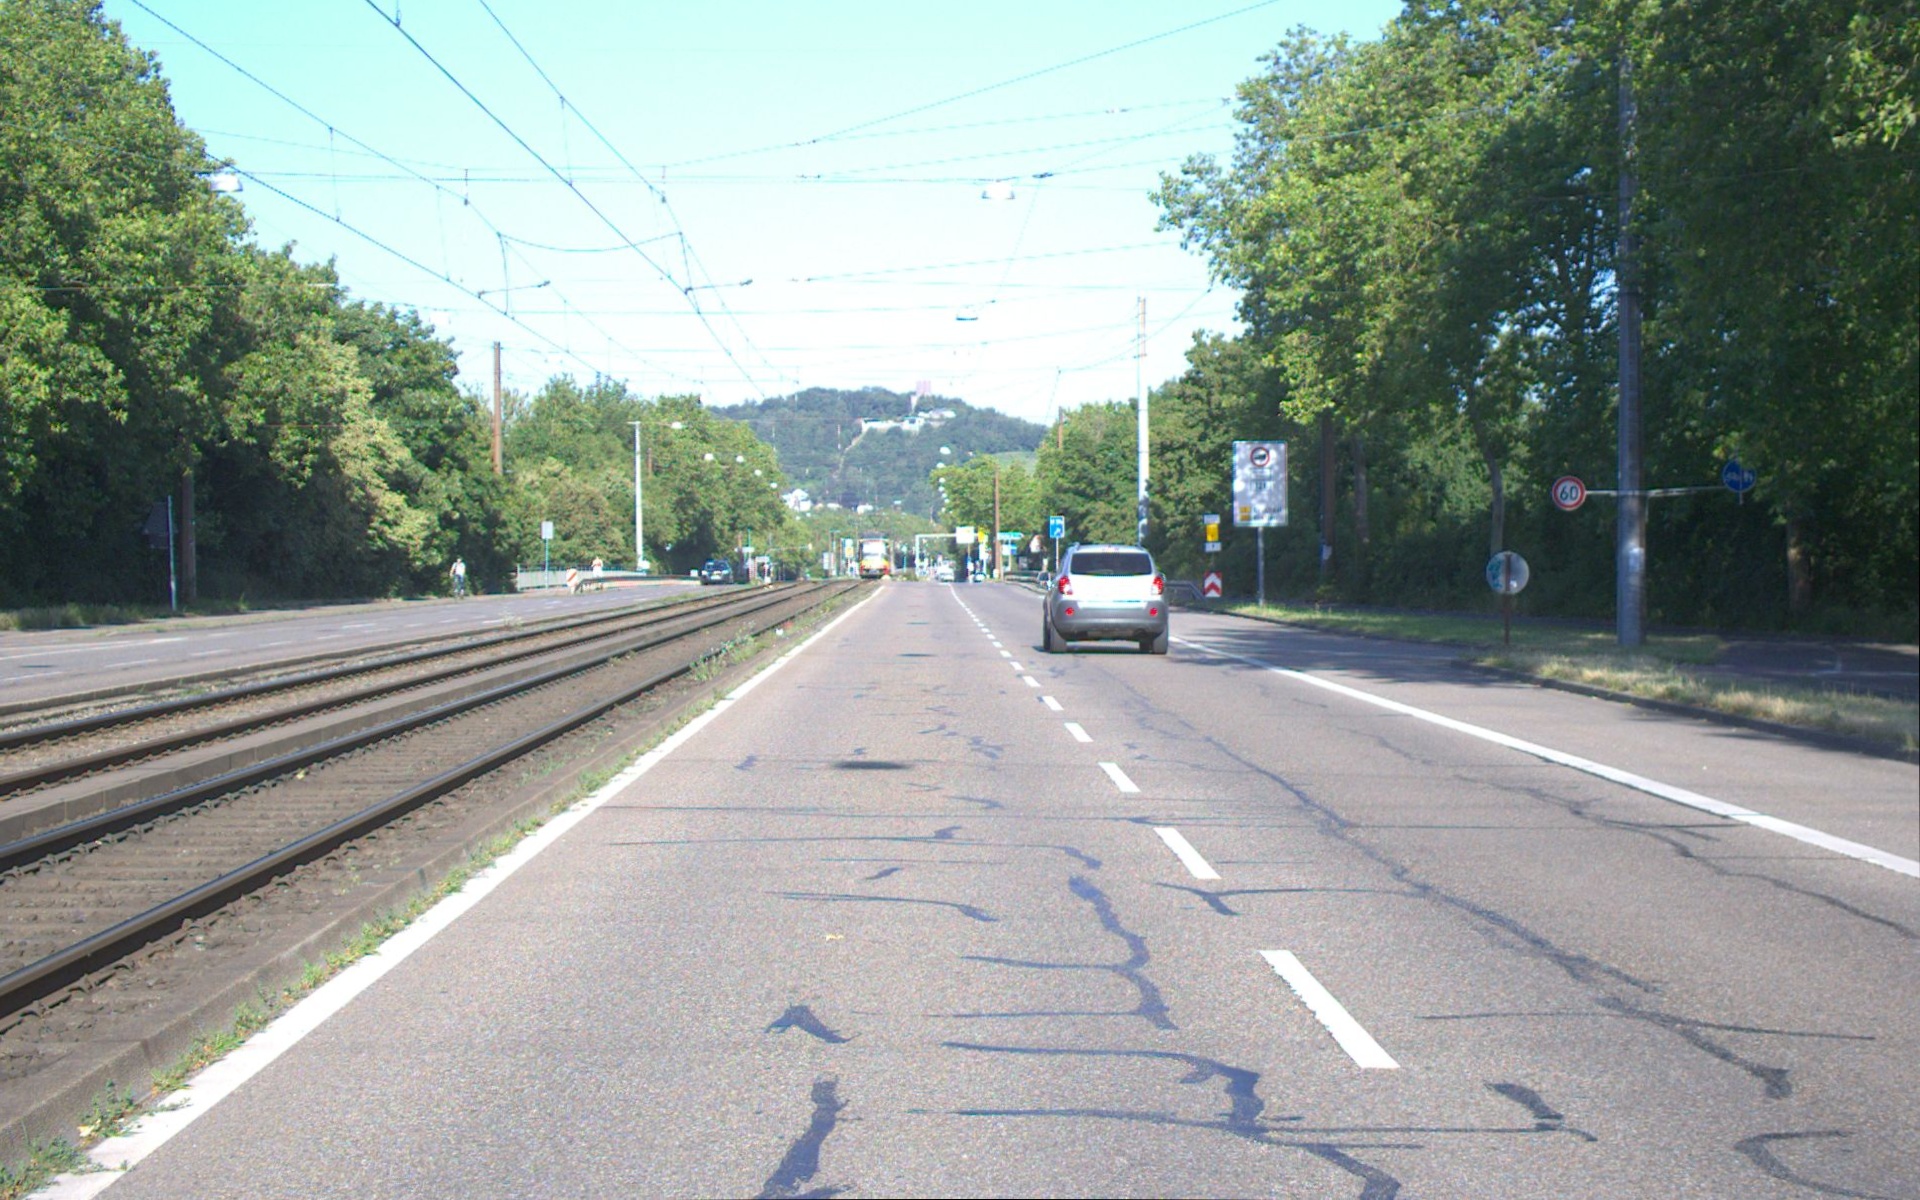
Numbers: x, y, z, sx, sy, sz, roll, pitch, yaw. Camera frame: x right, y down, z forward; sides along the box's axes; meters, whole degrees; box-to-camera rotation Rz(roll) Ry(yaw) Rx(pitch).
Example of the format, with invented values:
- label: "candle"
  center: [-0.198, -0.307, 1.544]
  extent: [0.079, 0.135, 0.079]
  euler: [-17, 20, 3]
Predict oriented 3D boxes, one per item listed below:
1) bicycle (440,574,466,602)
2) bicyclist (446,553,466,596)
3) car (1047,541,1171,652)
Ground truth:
- label: "bicycle"
  center: [-20.564, -0.480, 139.486]
  extent: [0.550, 0.983, 2.238]
  euler: [1, -4, 5]
- label: "bicyclist"
  center: [-20.478, -1.028, 139.723]
  extent: [0.550, 1.685, 0.820]
  euler: [2, -4, 3]
- label: "car"
  center: [2.350, -0.063, 54.852]
  extent: [1.888, 1.688, 4.256]
  euler: [0, 0, 2]
